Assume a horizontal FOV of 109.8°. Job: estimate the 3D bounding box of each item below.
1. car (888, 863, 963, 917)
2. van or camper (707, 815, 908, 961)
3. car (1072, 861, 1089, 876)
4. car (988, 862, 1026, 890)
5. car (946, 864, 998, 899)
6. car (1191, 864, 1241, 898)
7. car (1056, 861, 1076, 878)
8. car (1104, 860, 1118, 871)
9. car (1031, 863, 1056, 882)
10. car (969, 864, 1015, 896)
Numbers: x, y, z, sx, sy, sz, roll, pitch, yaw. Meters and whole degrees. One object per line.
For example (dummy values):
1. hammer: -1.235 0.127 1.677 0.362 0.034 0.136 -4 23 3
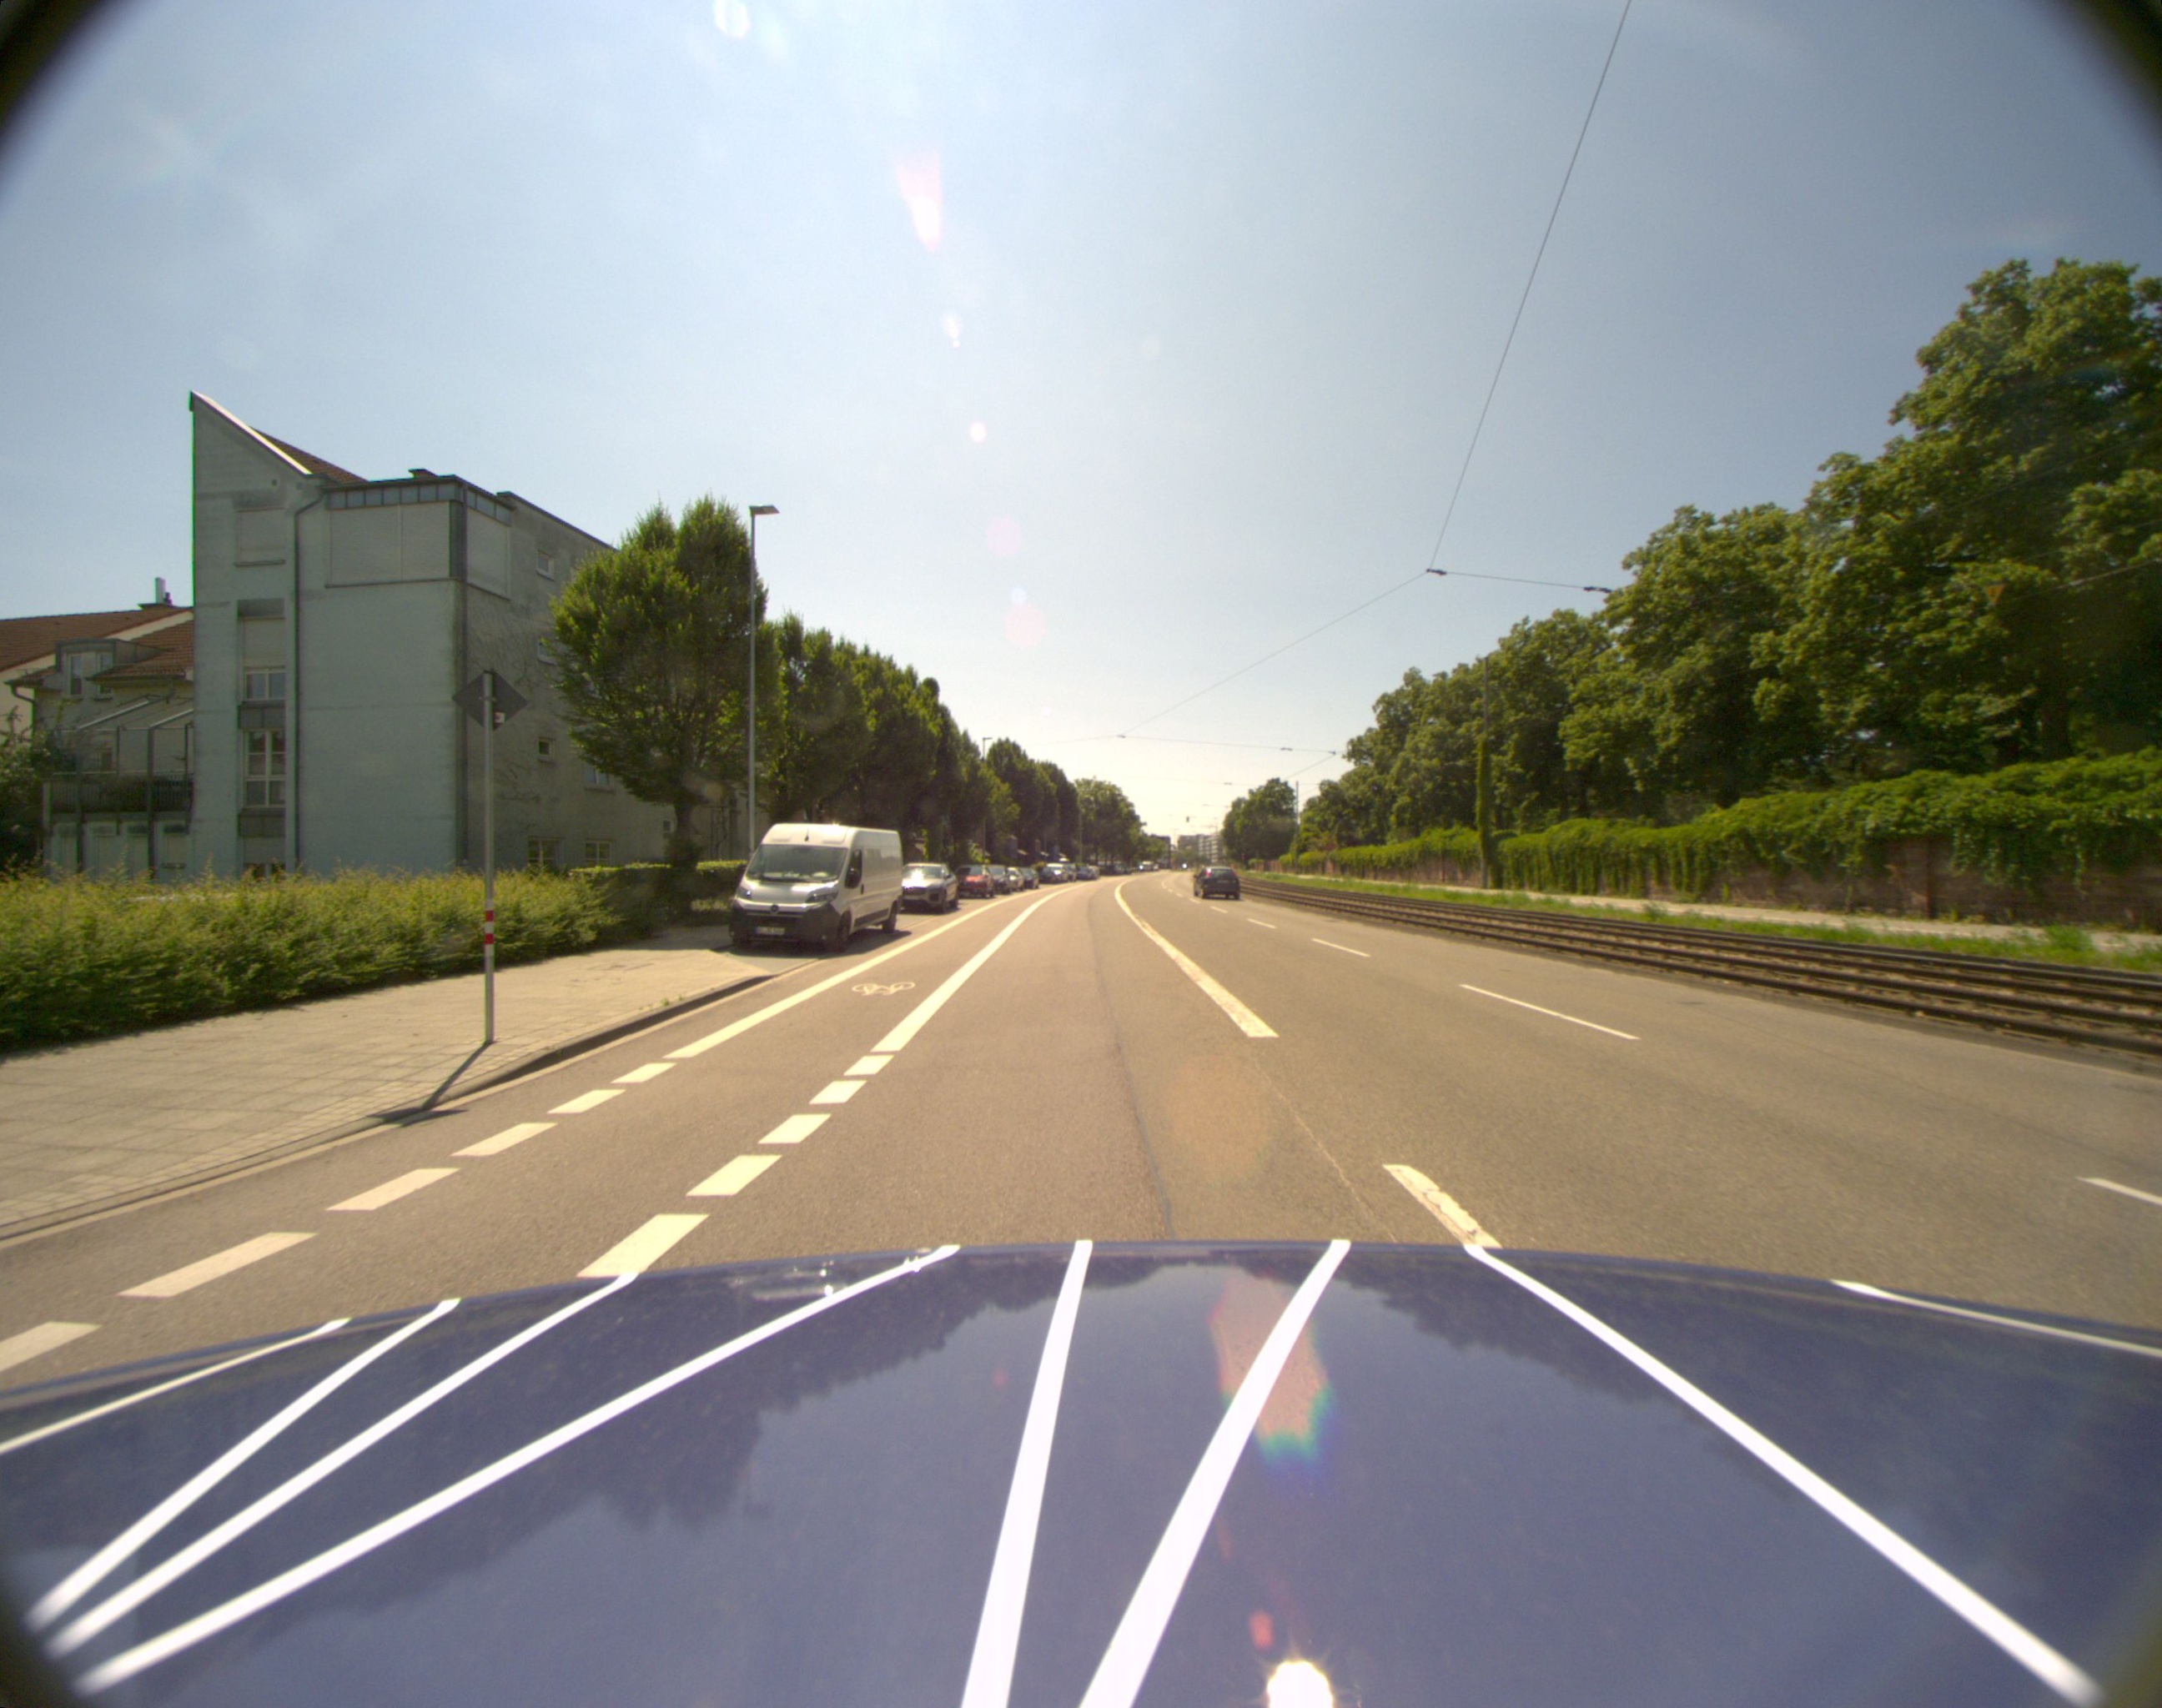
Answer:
1. car: -5.241 1.167 26.126 1.828 1.624 3.999 2 0 -2
2. van or camper: -5.461 0.614 16.287 2.126 2.469 5.993 2 0 -1
3. car: -0.065 1.622 84.972 1.807 1.584 4.000 0 0 1
4. car: -4.595 1.343 47.548 1.906 1.652 4.000 -1 0 1
5. car: -5.159 1.266 36.396 1.813 1.543 4.001 0 0 2
6. car: 6.216 1.217 35.332 1.696 1.460 4.000 0 0 1
7. car: -1.473 1.532 76.634 1.907 1.706 4.000 -1 0 1
8. car: 4.587 1.733 116.101 1.998 1.717 4.000 -1 0 1
9. car: -3.195 1.540 64.943 1.725 1.586 4.001 0 0 3
10. car: -4.899 1.399 42.393 1.998 1.652 4.000 0 0 1
